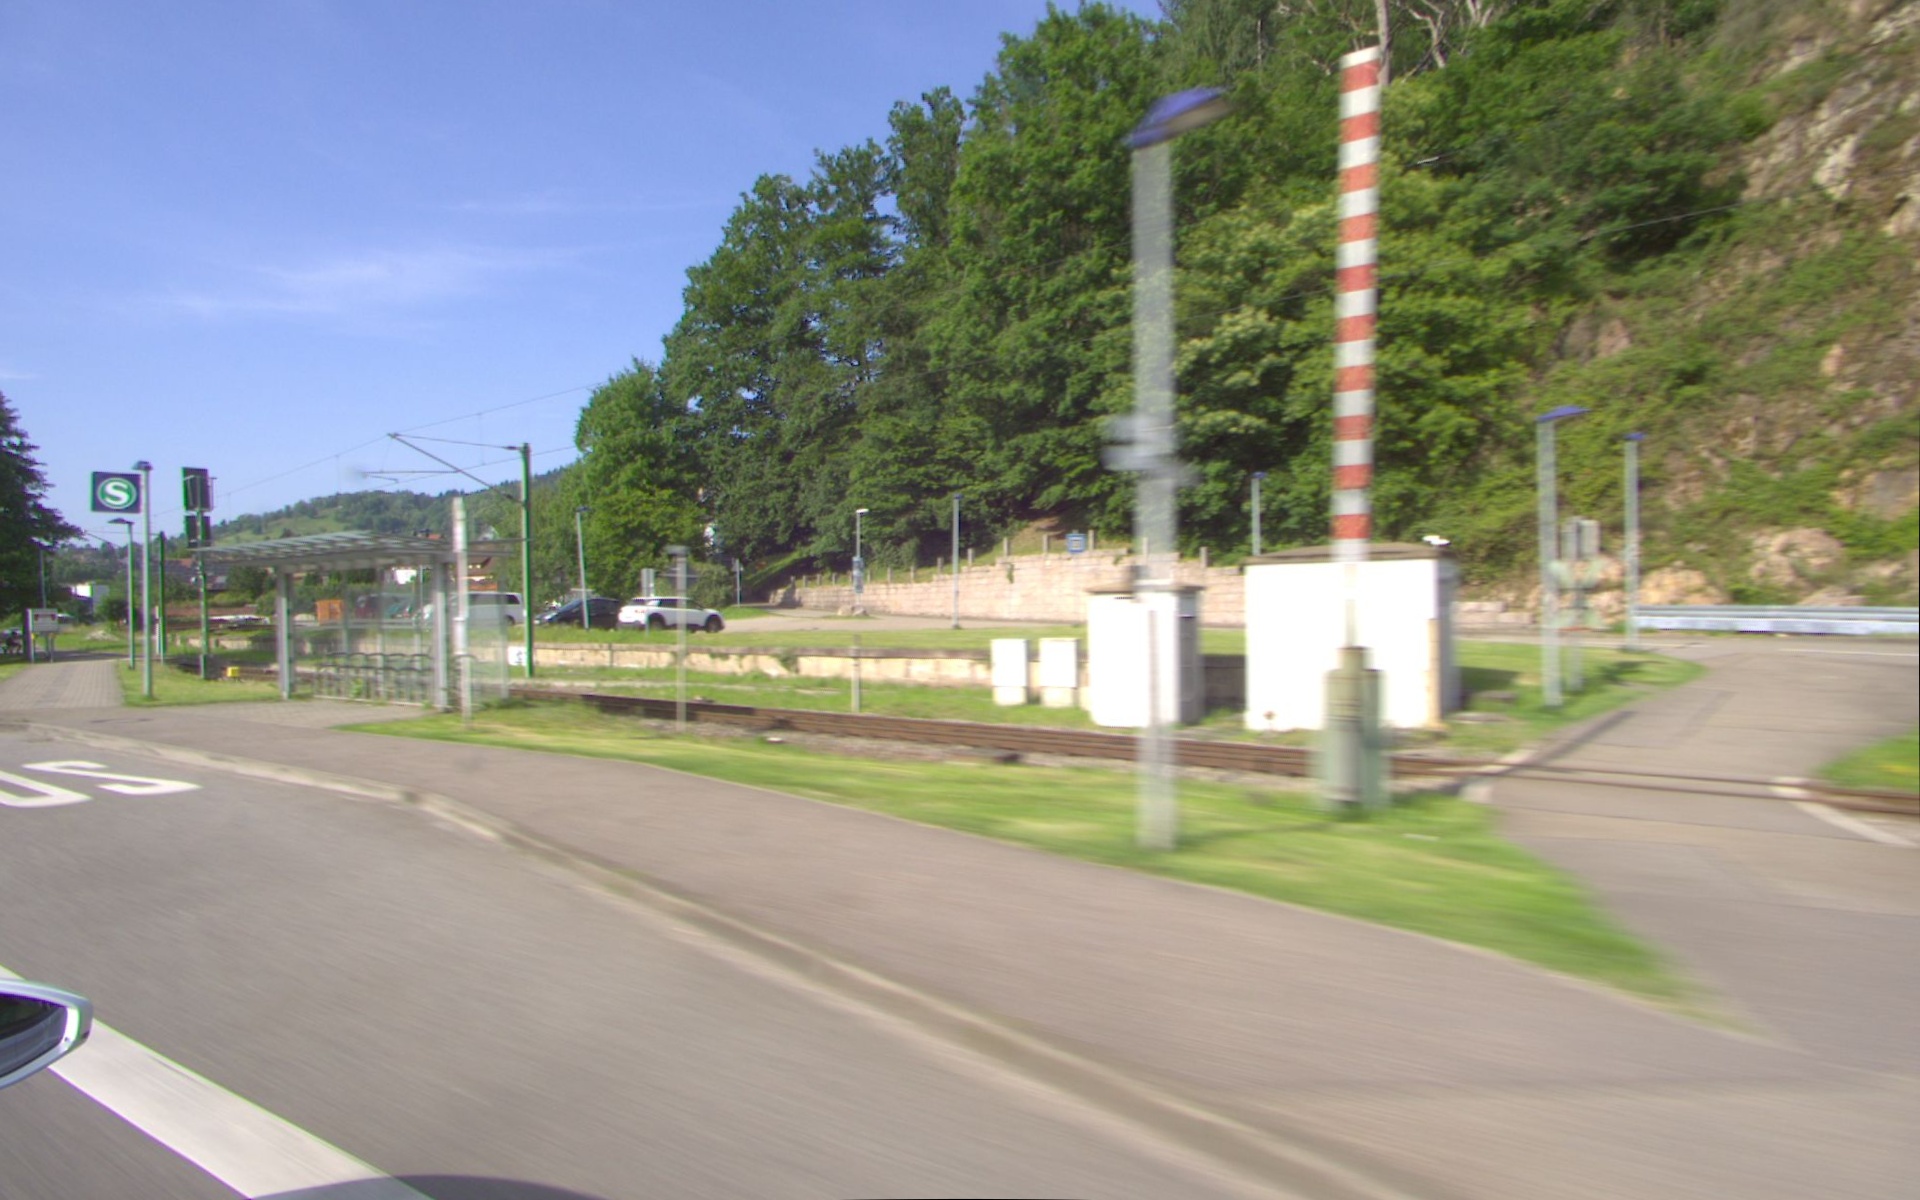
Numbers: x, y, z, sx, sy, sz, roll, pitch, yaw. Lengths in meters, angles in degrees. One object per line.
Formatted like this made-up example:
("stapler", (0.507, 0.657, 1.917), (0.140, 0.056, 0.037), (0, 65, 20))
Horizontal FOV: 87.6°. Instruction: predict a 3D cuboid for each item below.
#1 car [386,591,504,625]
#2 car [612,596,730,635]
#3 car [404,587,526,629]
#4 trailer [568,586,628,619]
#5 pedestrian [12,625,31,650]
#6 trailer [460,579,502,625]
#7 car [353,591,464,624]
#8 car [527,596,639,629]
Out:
("car", (-26.013, 0.411, 50.740), (2.116, 1.608, 4.929), (-1, -1, 40))
("car", (-11.014, 0.601, 38.346), (1.788, 1.416, 4.078), (-1, -1, 40))
("car", (-24.230, 0.398, 49.175), (2.116, 1.969, 4.929), (-1, -1, 40))
("trailer", (-25.230, 0.186, 69.833), (3.652, 2.218, 1.808), (-1, 0, -31))
("pedestrian", (-46.604, 1.867, 49.717), (0.630, 1.176, 0.720), (-2, 1, -41))
("trailer", (-42.765, 0.200, 89.270), (2.577, 3.945, 7.691), (-2, 1, -30))
("car", (-29.802, 0.400, 54.226), (1.913, 1.713, 4.929), (-1, -1, 40))
("car", (-16.289, 0.535, 43.423), (1.810, 1.361, 4.246), (-1, -1, 40))
